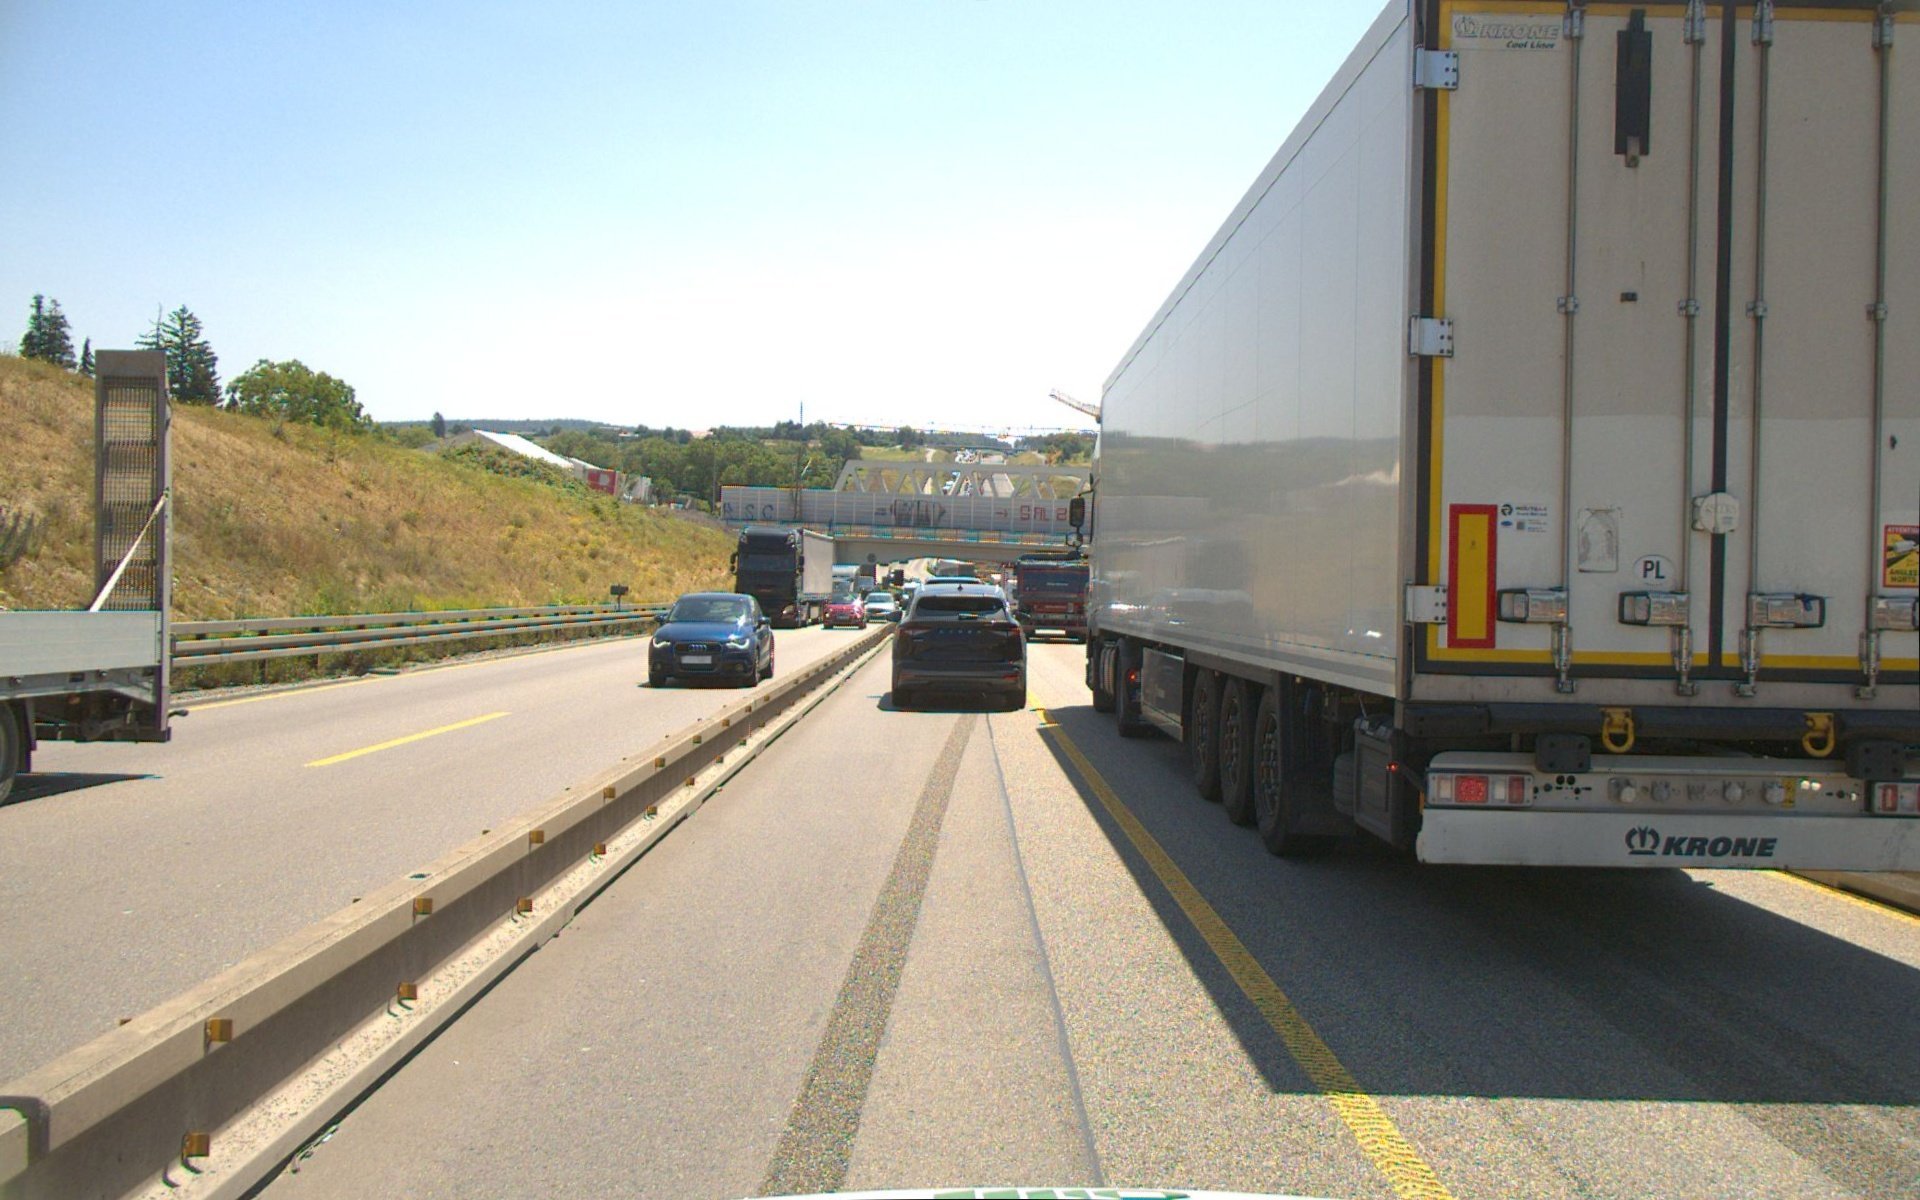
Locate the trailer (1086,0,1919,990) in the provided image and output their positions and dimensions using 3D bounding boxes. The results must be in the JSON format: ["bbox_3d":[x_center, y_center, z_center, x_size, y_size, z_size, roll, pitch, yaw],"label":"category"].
[{"bbox_3d":[2.995,-0.586,13.474,2.744,4.129,14.115,1,0,0],"label":"trailer"}]

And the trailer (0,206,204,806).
[{"bbox_3d":[-7.180,-0.578,8.409,2.534,3.700,9.077,1,0,-1],"label":"trailer"}]

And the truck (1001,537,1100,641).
[{"bbox_3d":[2.978,-0.363,57.984,2.756,3.189,12.837,1,0,0],"label":"truck"}]

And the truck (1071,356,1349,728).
[{"bbox_3d":[2.969,-0.658,21.003,2.720,4.129,4.904,1,0,0],"label":"truck"}]

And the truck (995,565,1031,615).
[{"bbox_3d":[4.830,-0.896,152.770,3.110,4.393,9.258,1,0,1],"label":"truck"}]

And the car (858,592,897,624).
[{"bbox_3d":[-4.119,0.381,82.920,1.789,1.513,4.195,1,0,-1],"label":"car"}]

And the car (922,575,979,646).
[{"bbox_3d":[-0.252,0.257,44.231,1.444,1.826,3.297,1,0,0],"label":"car"}]

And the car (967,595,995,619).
[{"bbox_3d":[1.245,0.413,98.542,1.461,1.354,3.243,2,0,-2],"label":"car"}]

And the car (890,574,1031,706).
[{"bbox_3d":[-0.006,0.483,22.572,1.763,1.648,3.297,1,1,-1],"label":"car"}]

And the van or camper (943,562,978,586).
[{"bbox_3d":[0.019,-4.004,256.267,3.872,3.479,8.385,1,1,-11],"label":"van or camper"}]

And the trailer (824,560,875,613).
[{"bbox_3d":[-6.627,-0.792,100.770,2.222,2.932,13.041,1,0,0],"label":"trailer"}]

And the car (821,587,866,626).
[{"bbox_3d":[-4.681,0.241,66.737,1.558,1.513,3.295,1,0,-1],"label":"car"}]

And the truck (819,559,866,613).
[{"bbox_3d":[-6.595,-0.779,93.573,2.222,2.932,5.851,1,0,0],"label":"truck"}]

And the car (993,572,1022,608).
[{"bbox_3d":[3.187,-0.676,111.765,1.628,2.309,3.795,2,0,-2],"label":"car"}]

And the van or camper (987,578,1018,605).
[{"bbox_3d":[5.671,-1.201,221.961,3.862,3.479,8.407,1,1,1],"label":"van or camper"}]

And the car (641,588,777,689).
[{"bbox_3d":[-3.907,0.553,26.282,1.650,1.455,3.849,1,0,-2],"label":"car"}]

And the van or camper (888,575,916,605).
[{"bbox_3d":[-5.139,-0.889,147.494,2.170,2.524,4.751,1,0,1],"label":"van or camper"}]

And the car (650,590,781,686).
[{"bbox_3d":[-3.894,0.567,26.852,1.655,1.427,3.685,1,0,-2],"label":"car"}]

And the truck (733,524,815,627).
[{"bbox_3d":[-7.483,-0.951,67.089,2.711,3.952,4.963,1,0,-1],"label":"truck"}]

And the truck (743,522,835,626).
[{"bbox_3d":[-7.526,-1.100,74.539,2.711,4.159,13.804,1,0,0],"label":"truck"}]
